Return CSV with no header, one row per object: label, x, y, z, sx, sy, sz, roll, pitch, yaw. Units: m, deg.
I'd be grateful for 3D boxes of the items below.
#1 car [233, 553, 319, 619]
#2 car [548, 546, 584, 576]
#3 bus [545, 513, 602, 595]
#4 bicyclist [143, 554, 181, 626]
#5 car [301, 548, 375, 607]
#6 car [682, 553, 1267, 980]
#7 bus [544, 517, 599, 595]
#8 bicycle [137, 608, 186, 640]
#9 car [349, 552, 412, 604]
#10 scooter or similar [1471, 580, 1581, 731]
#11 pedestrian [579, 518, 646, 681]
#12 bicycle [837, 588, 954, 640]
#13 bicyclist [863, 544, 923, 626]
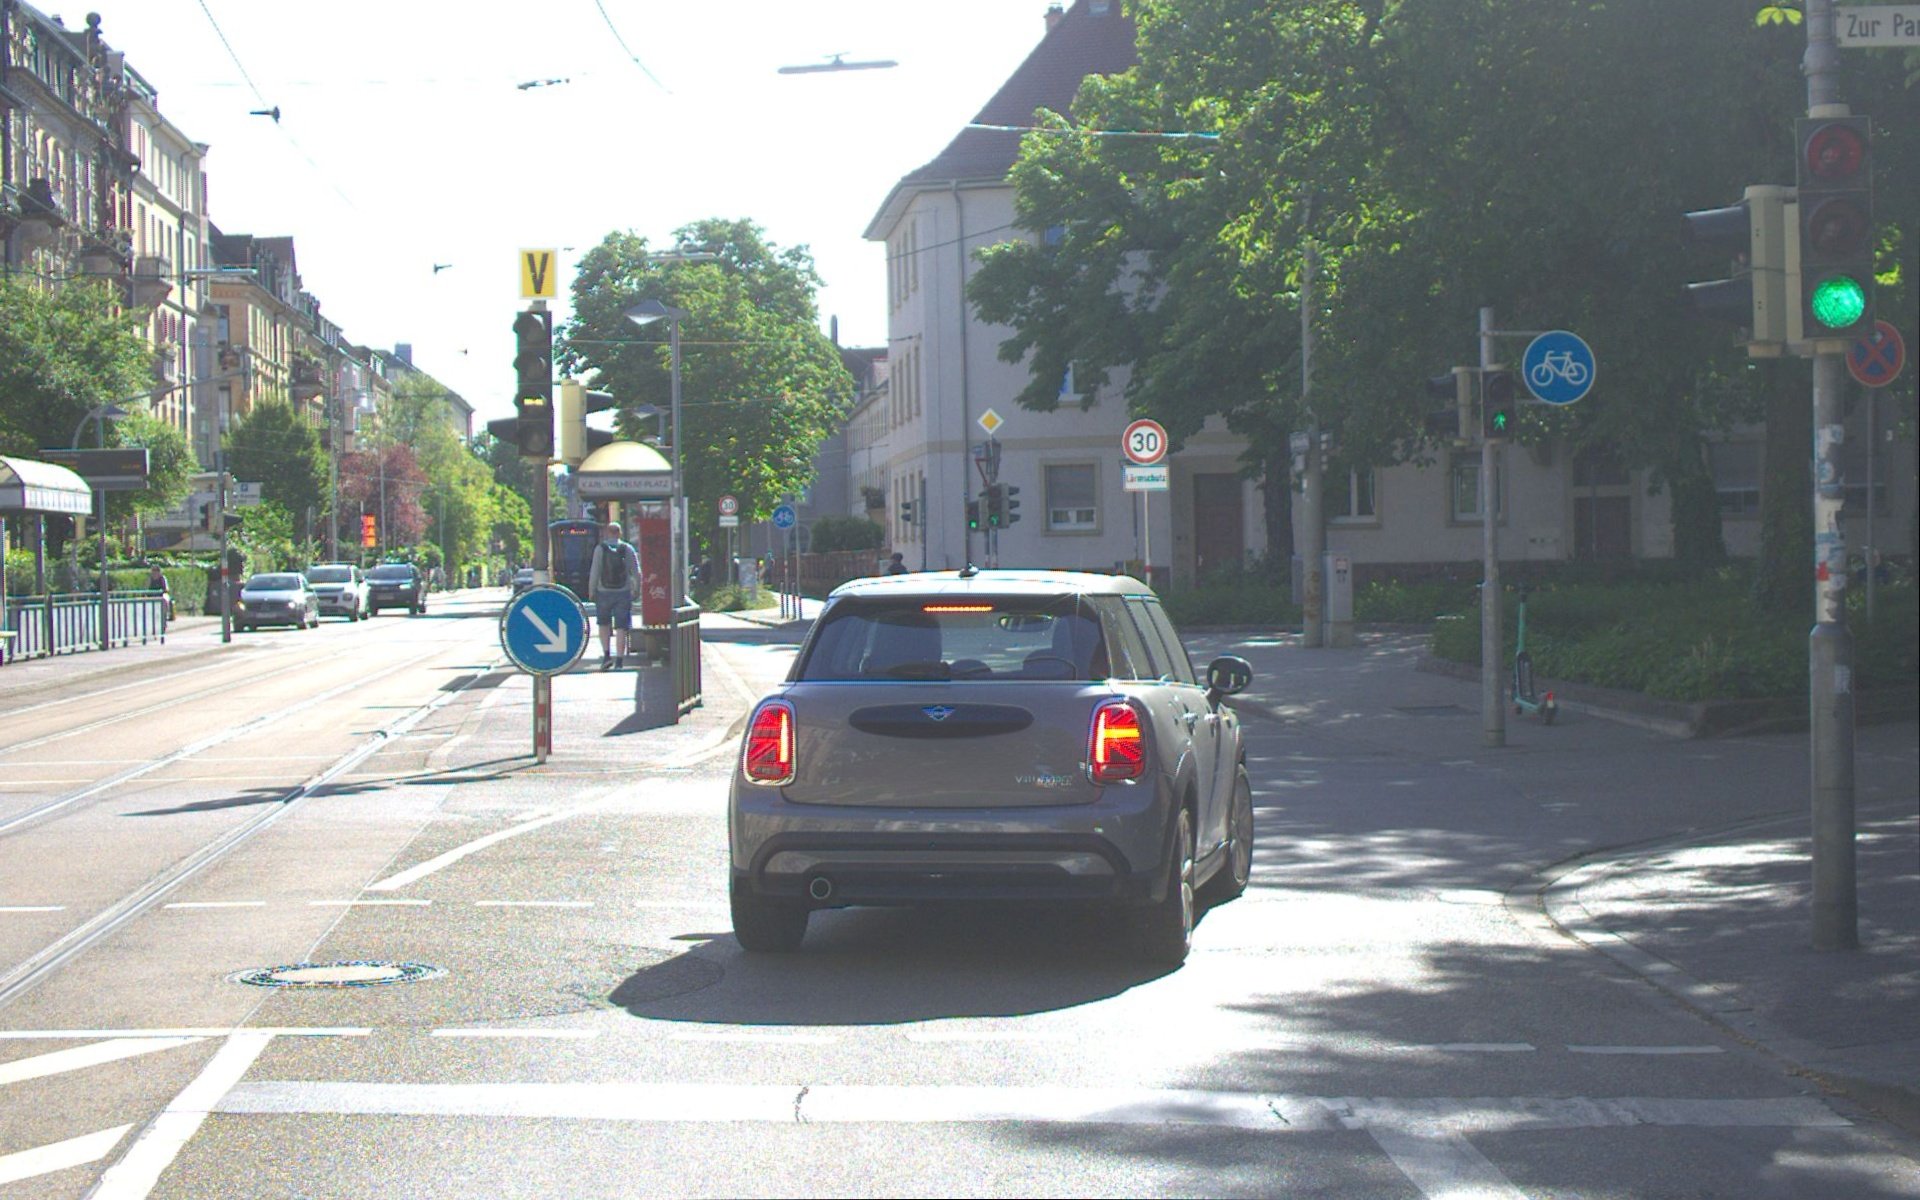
car,-17.089,-0.341,85.974,1.775,1.612,4.001,0,0,-6
car,-21.144,-2.066,184.451,1.863,1.558,4.001,0,0,-6
bus,-17.095,-2.003,151.924,2.385,3.484,7.385,0,0,-7
bicyclist,-18.611,-0.235,80.215,0.713,1.660,0.734,0,0,-1
car,-17.493,-0.627,96.782,1.775,1.612,4.001,0,0,-6
car,0.216,0.584,14.046,1.816,1.483,3.998,0,0,9
bus,-18.038,-1.999,159.294,2.385,3.484,7.385,0,0,-7
bicycle,-18.615,0.557,80.166,0.719,0.747,1.916,0,0,-1
car,-18.509,-0.680,109.956,1.775,1.612,4.001,0,0,-6
scooter or similar,5.007,0.484,30.477,0.676,1.306,1.329,0,0,-4
pedestrian,-4.307,-0.001,42.634,0.795,2.007,0.740,0,0,-4
bicycle,-1.429,0.305,76.216,2.535,1.152,0.843,0,0,31
bicyclist,-1.484,-0.330,76.244,1.057,1.805,0.819,0,0,31
